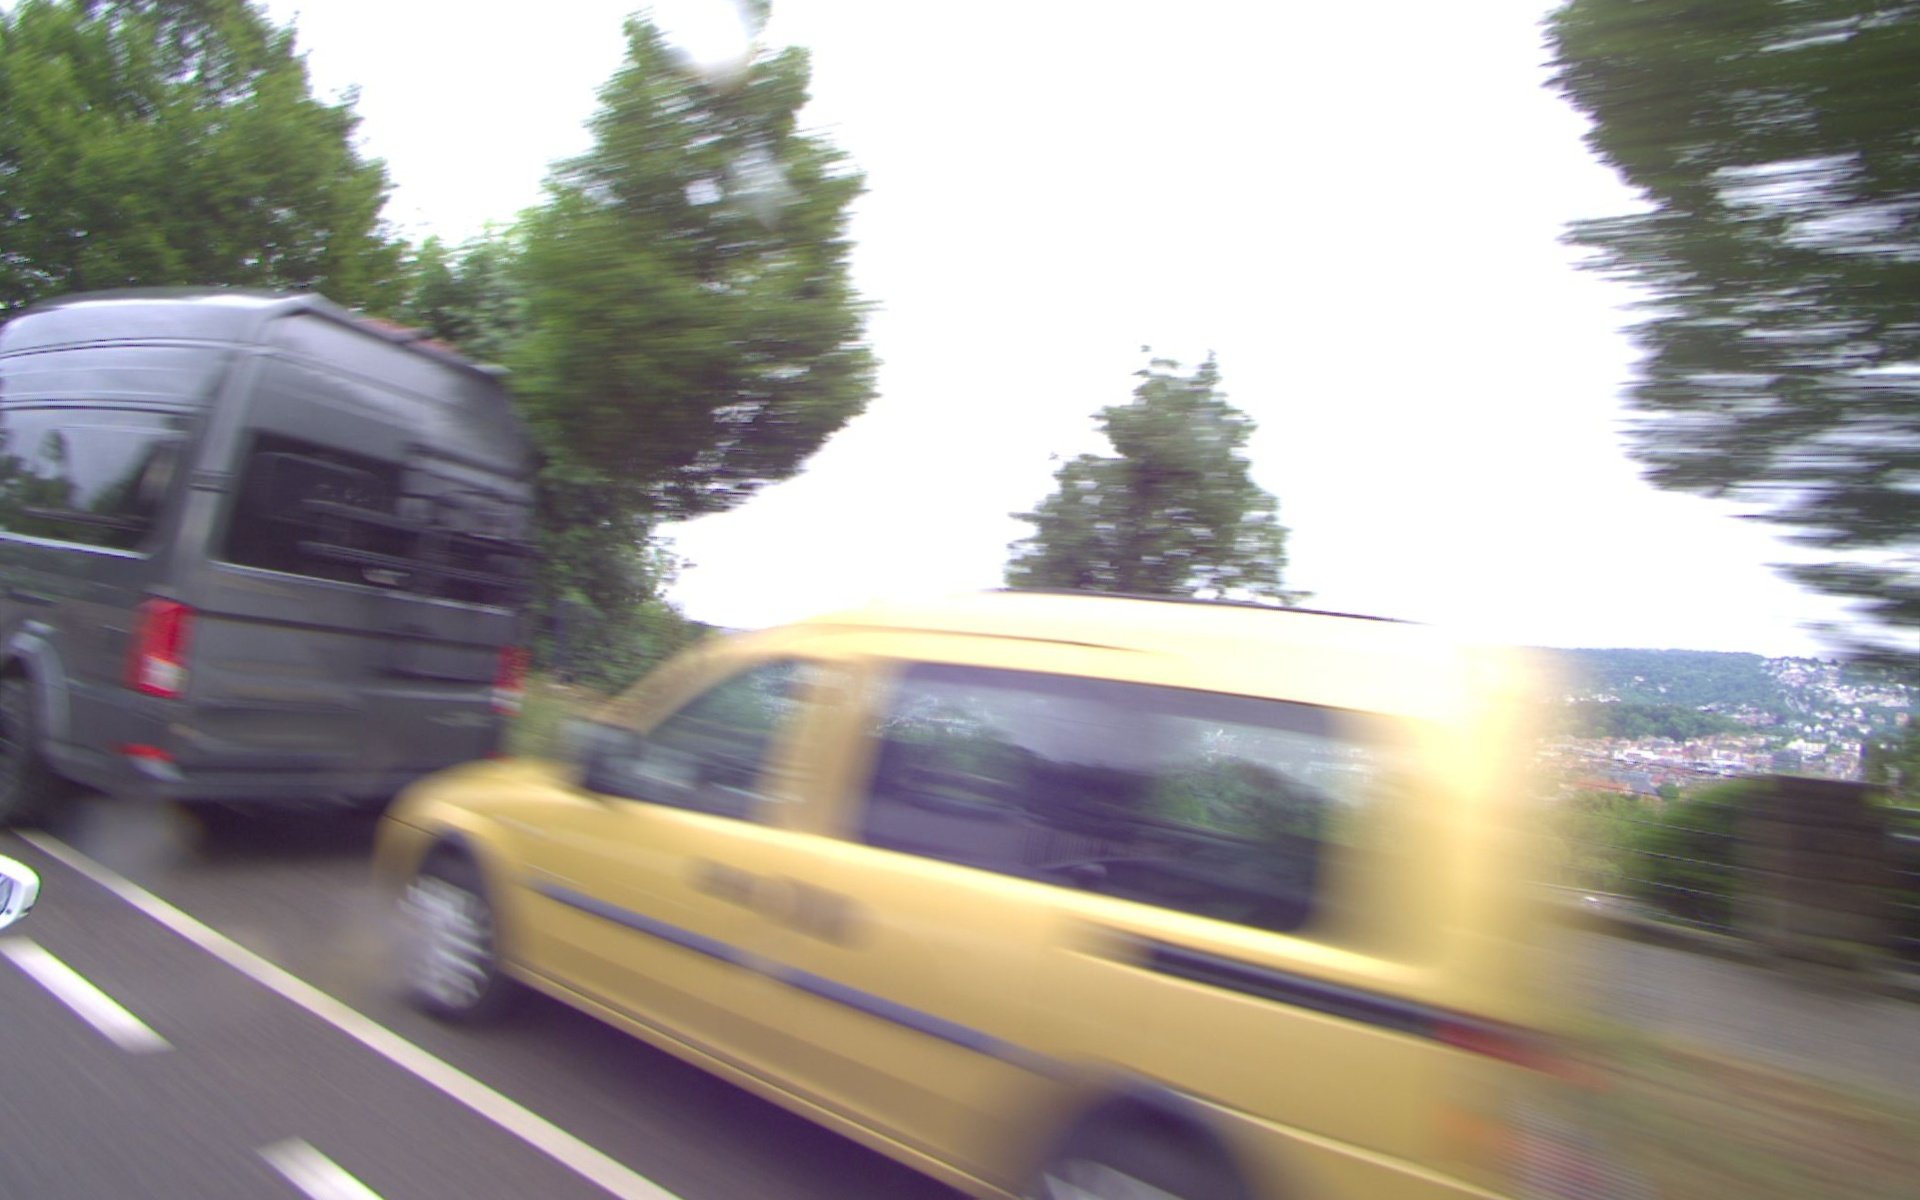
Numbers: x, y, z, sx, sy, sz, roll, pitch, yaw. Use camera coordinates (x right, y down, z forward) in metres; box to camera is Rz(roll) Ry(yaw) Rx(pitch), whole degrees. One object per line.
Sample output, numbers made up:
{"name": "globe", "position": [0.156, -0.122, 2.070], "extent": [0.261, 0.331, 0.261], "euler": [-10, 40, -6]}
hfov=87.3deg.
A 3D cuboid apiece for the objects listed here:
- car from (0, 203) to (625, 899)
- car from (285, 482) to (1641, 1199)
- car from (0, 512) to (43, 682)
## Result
{"name": "car", "position": [-5.169, -0.351, 6.528], "extent": [5.672, 2.917, 2.131], "euler": [7, -4, 31]}
{"name": "car", "position": [-0.268, 0.758, 3.579], "extent": [4.205, 1.803, 1.734], "euler": [6, -6, 32]}
{"name": "car", "position": [-10.592, -0.280, 9.617], "extent": [3.525, 1.543, 1.588], "euler": [6, -4, 31]}
